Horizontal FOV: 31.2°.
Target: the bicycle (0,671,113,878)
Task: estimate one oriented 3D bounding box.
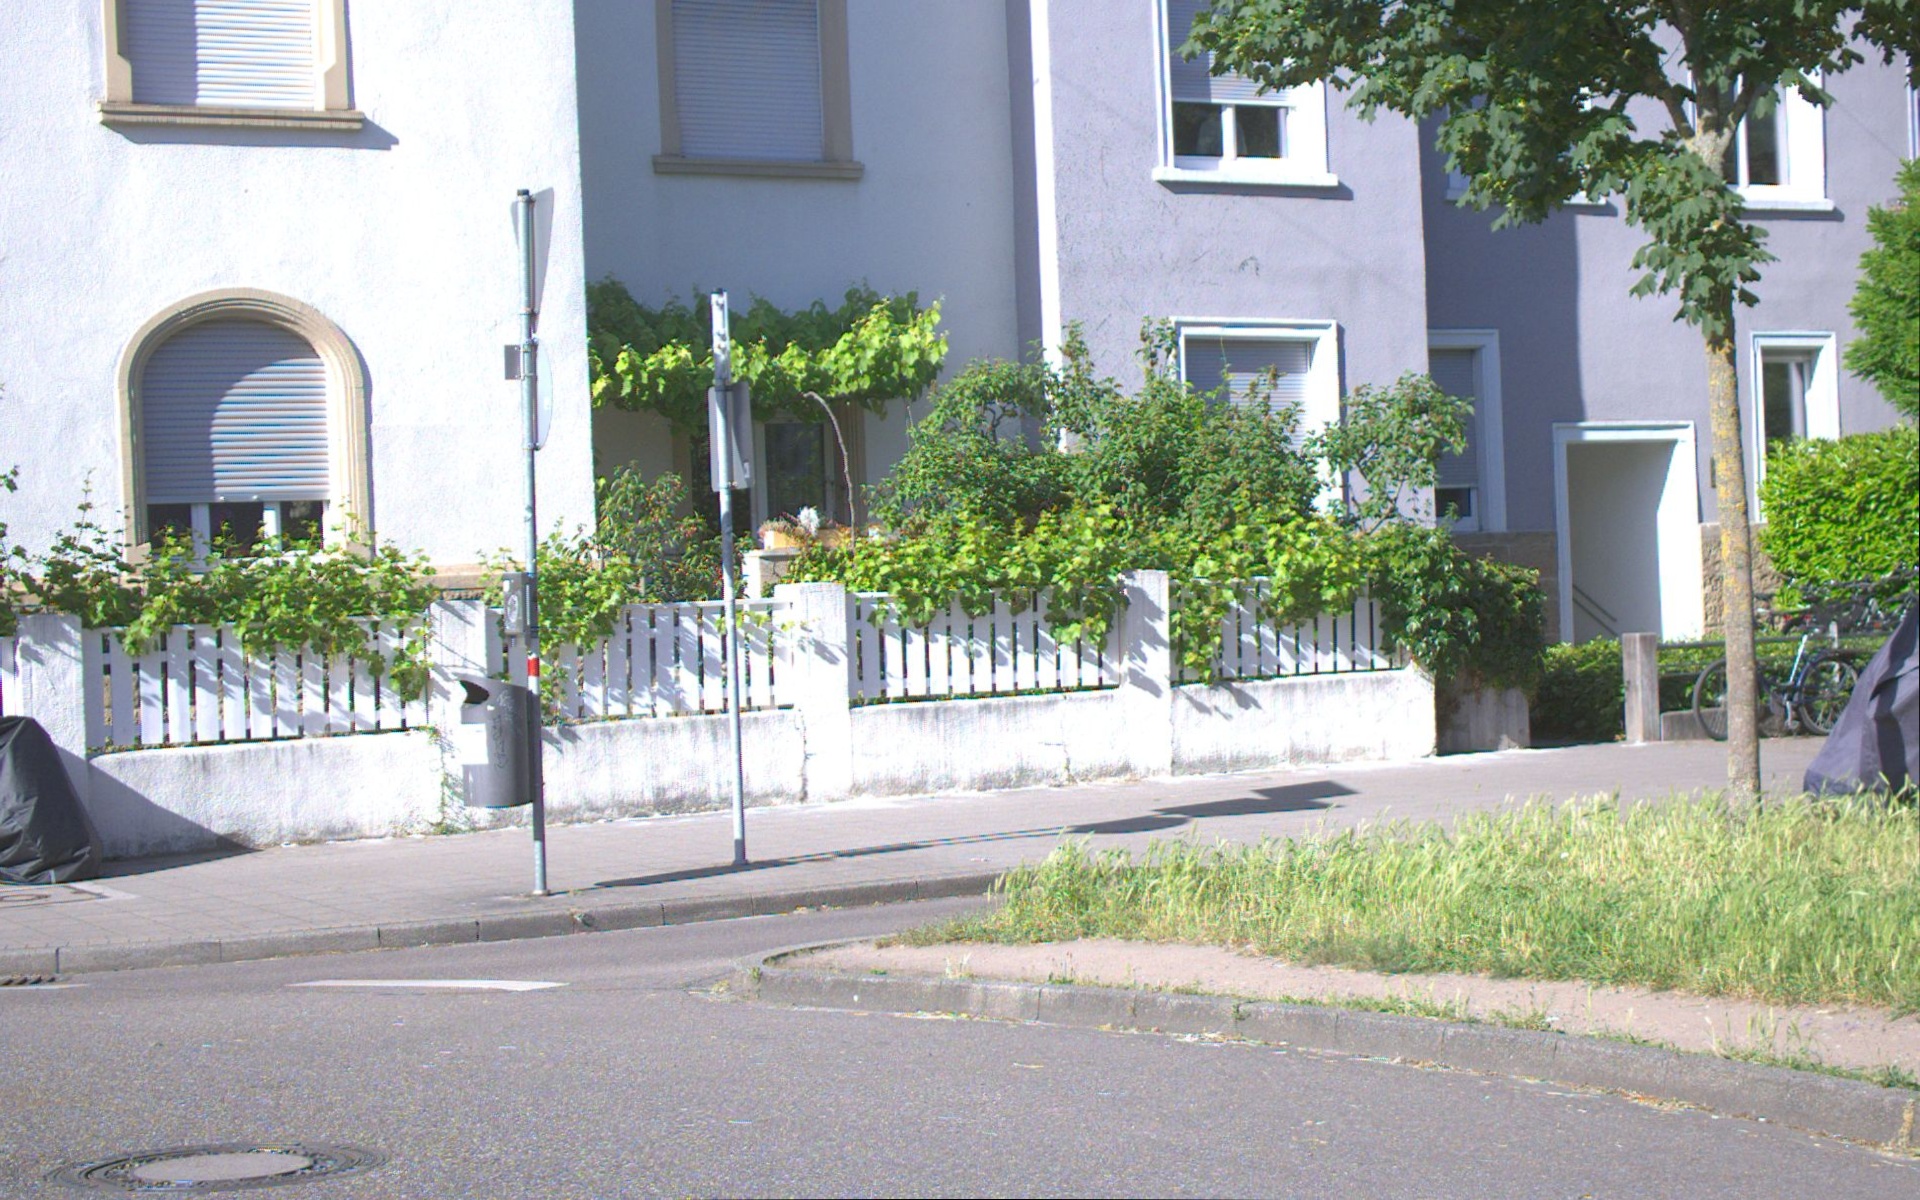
[{"bbox_3d":[-6.195,1.026,20.141,2.280,1.153,0.766,-2,0,14],"label":"bicycle"}]

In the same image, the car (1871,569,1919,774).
[{"bbox_3d":[8.667,0.405,24.842,3.943,1.440,1.753,-3,-1,-33],"label":"car"}]

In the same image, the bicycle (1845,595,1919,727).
[{"bbox_3d":[8.541,0.467,28.853,2.249,1.056,0.683,-3,0,-28],"label":"bicycle"}]

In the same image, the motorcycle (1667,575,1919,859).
[{"bbox_3d":[4.710,0.514,15.809,1.123,1.263,2.783,-2,0,-36],"label":"motorcycle"}]

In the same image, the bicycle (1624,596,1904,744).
[{"bbox_3d":[6.450,0.550,27.541,2.249,1.056,0.683,-3,0,-28],"label":"bicycle"}]
